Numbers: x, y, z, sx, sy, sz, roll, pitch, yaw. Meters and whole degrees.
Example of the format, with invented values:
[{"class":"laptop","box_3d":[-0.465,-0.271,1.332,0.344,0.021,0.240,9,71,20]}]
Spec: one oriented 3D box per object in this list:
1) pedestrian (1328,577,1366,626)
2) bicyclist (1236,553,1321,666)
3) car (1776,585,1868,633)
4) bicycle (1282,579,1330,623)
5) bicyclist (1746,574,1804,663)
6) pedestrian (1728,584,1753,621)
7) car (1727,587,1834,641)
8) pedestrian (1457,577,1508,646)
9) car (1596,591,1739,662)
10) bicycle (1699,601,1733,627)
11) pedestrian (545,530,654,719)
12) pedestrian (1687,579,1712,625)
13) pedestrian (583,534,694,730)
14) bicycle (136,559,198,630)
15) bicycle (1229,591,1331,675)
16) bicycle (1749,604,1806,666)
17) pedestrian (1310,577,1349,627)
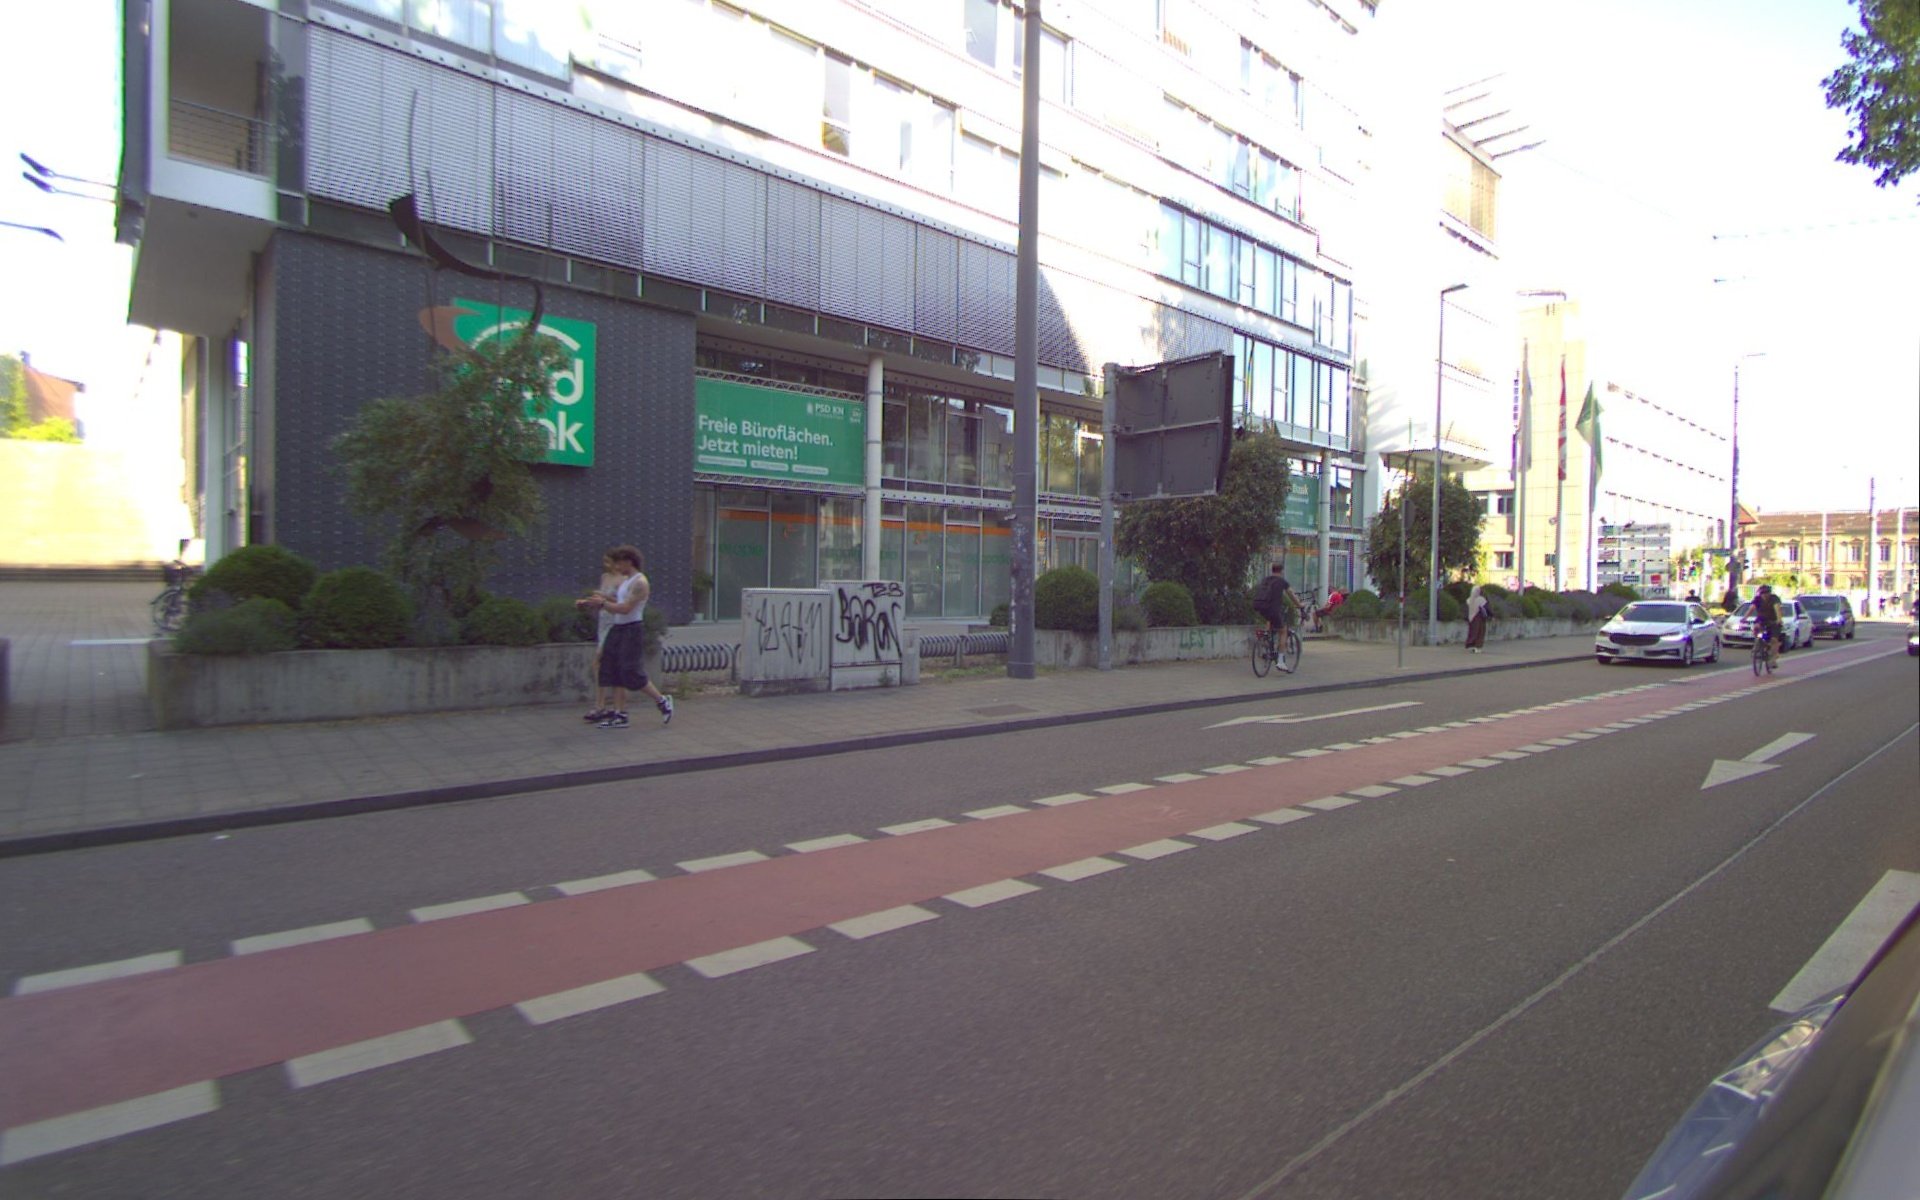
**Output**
[{"class":"pedestrian","box_3d":[10.464,0.030,27.357,0.535,1.288,0.783,0,1,-45]},{"class":"bicyclist","box_3d":[5.297,0.141,16.828,1.188,1.783,0.743,0,4,-41]},{"class":"car","box_3d":[31.427,0.289,36.860,3.931,1.616,1.997,0,2,-42]},{"class":"bicycle","box_3d":[9.737,0.017,28.449,1.583,1.176,0.534,0,1,-41]},{"class":"bicyclist","box_3d":[16.265,0.351,20.194,0.702,1.709,0.751,0,1,-42]},{"class":"pedestrian","box_3d":[34.324,0.097,44.504,0.652,1.601,0.693,0,3,-40]},{"class":"car","box_3d":[24.547,0.378,30.233,3.798,1.482,1.672,0,2,-38]},{"class":"pedestrian","box_3d":[12.327,0.262,23.886,0.895,1.594,0.753,0,1,-38]},{"class":"car","box_3d":[16.207,0.545,23.118,3.952,1.437,1.784,0,2,-42]},{"class":"bicycle","box_3d":[26.744,0.482,35.798,1.870,0.856,0.499,0,5,-41]},{"class":"pedestrian","box_3d":[-3.686,0.224,10.348,0.880,1.831,0.591,0,2,-41]},{"class":"pedestrian","box_3d":[26.475,0.063,36.237,0.579,1.601,0.527,0,3,-40]},{"class":"pedestrian","box_3d":[-3.163,0.289,9.957,0.876,1.831,0.564,0,2,-41]},{"class":"bicycle","box_3d":[-13.090,-0.114,16.679,0.688,1.076,1.878,0,2,-42]},{"class":"bicycle","box_3d":[5.352,0.518,16.898,1.894,1.291,0.665,0,4,-41]},{"class":"bicycle","box_3d":[16.254,0.669,20.113,2.090,1.135,0.550,0,2,-43]},{"class":"pedestrian","box_3d":[9.822,0.048,26.897,0.750,1.288,0.682,2,1,45]}]
